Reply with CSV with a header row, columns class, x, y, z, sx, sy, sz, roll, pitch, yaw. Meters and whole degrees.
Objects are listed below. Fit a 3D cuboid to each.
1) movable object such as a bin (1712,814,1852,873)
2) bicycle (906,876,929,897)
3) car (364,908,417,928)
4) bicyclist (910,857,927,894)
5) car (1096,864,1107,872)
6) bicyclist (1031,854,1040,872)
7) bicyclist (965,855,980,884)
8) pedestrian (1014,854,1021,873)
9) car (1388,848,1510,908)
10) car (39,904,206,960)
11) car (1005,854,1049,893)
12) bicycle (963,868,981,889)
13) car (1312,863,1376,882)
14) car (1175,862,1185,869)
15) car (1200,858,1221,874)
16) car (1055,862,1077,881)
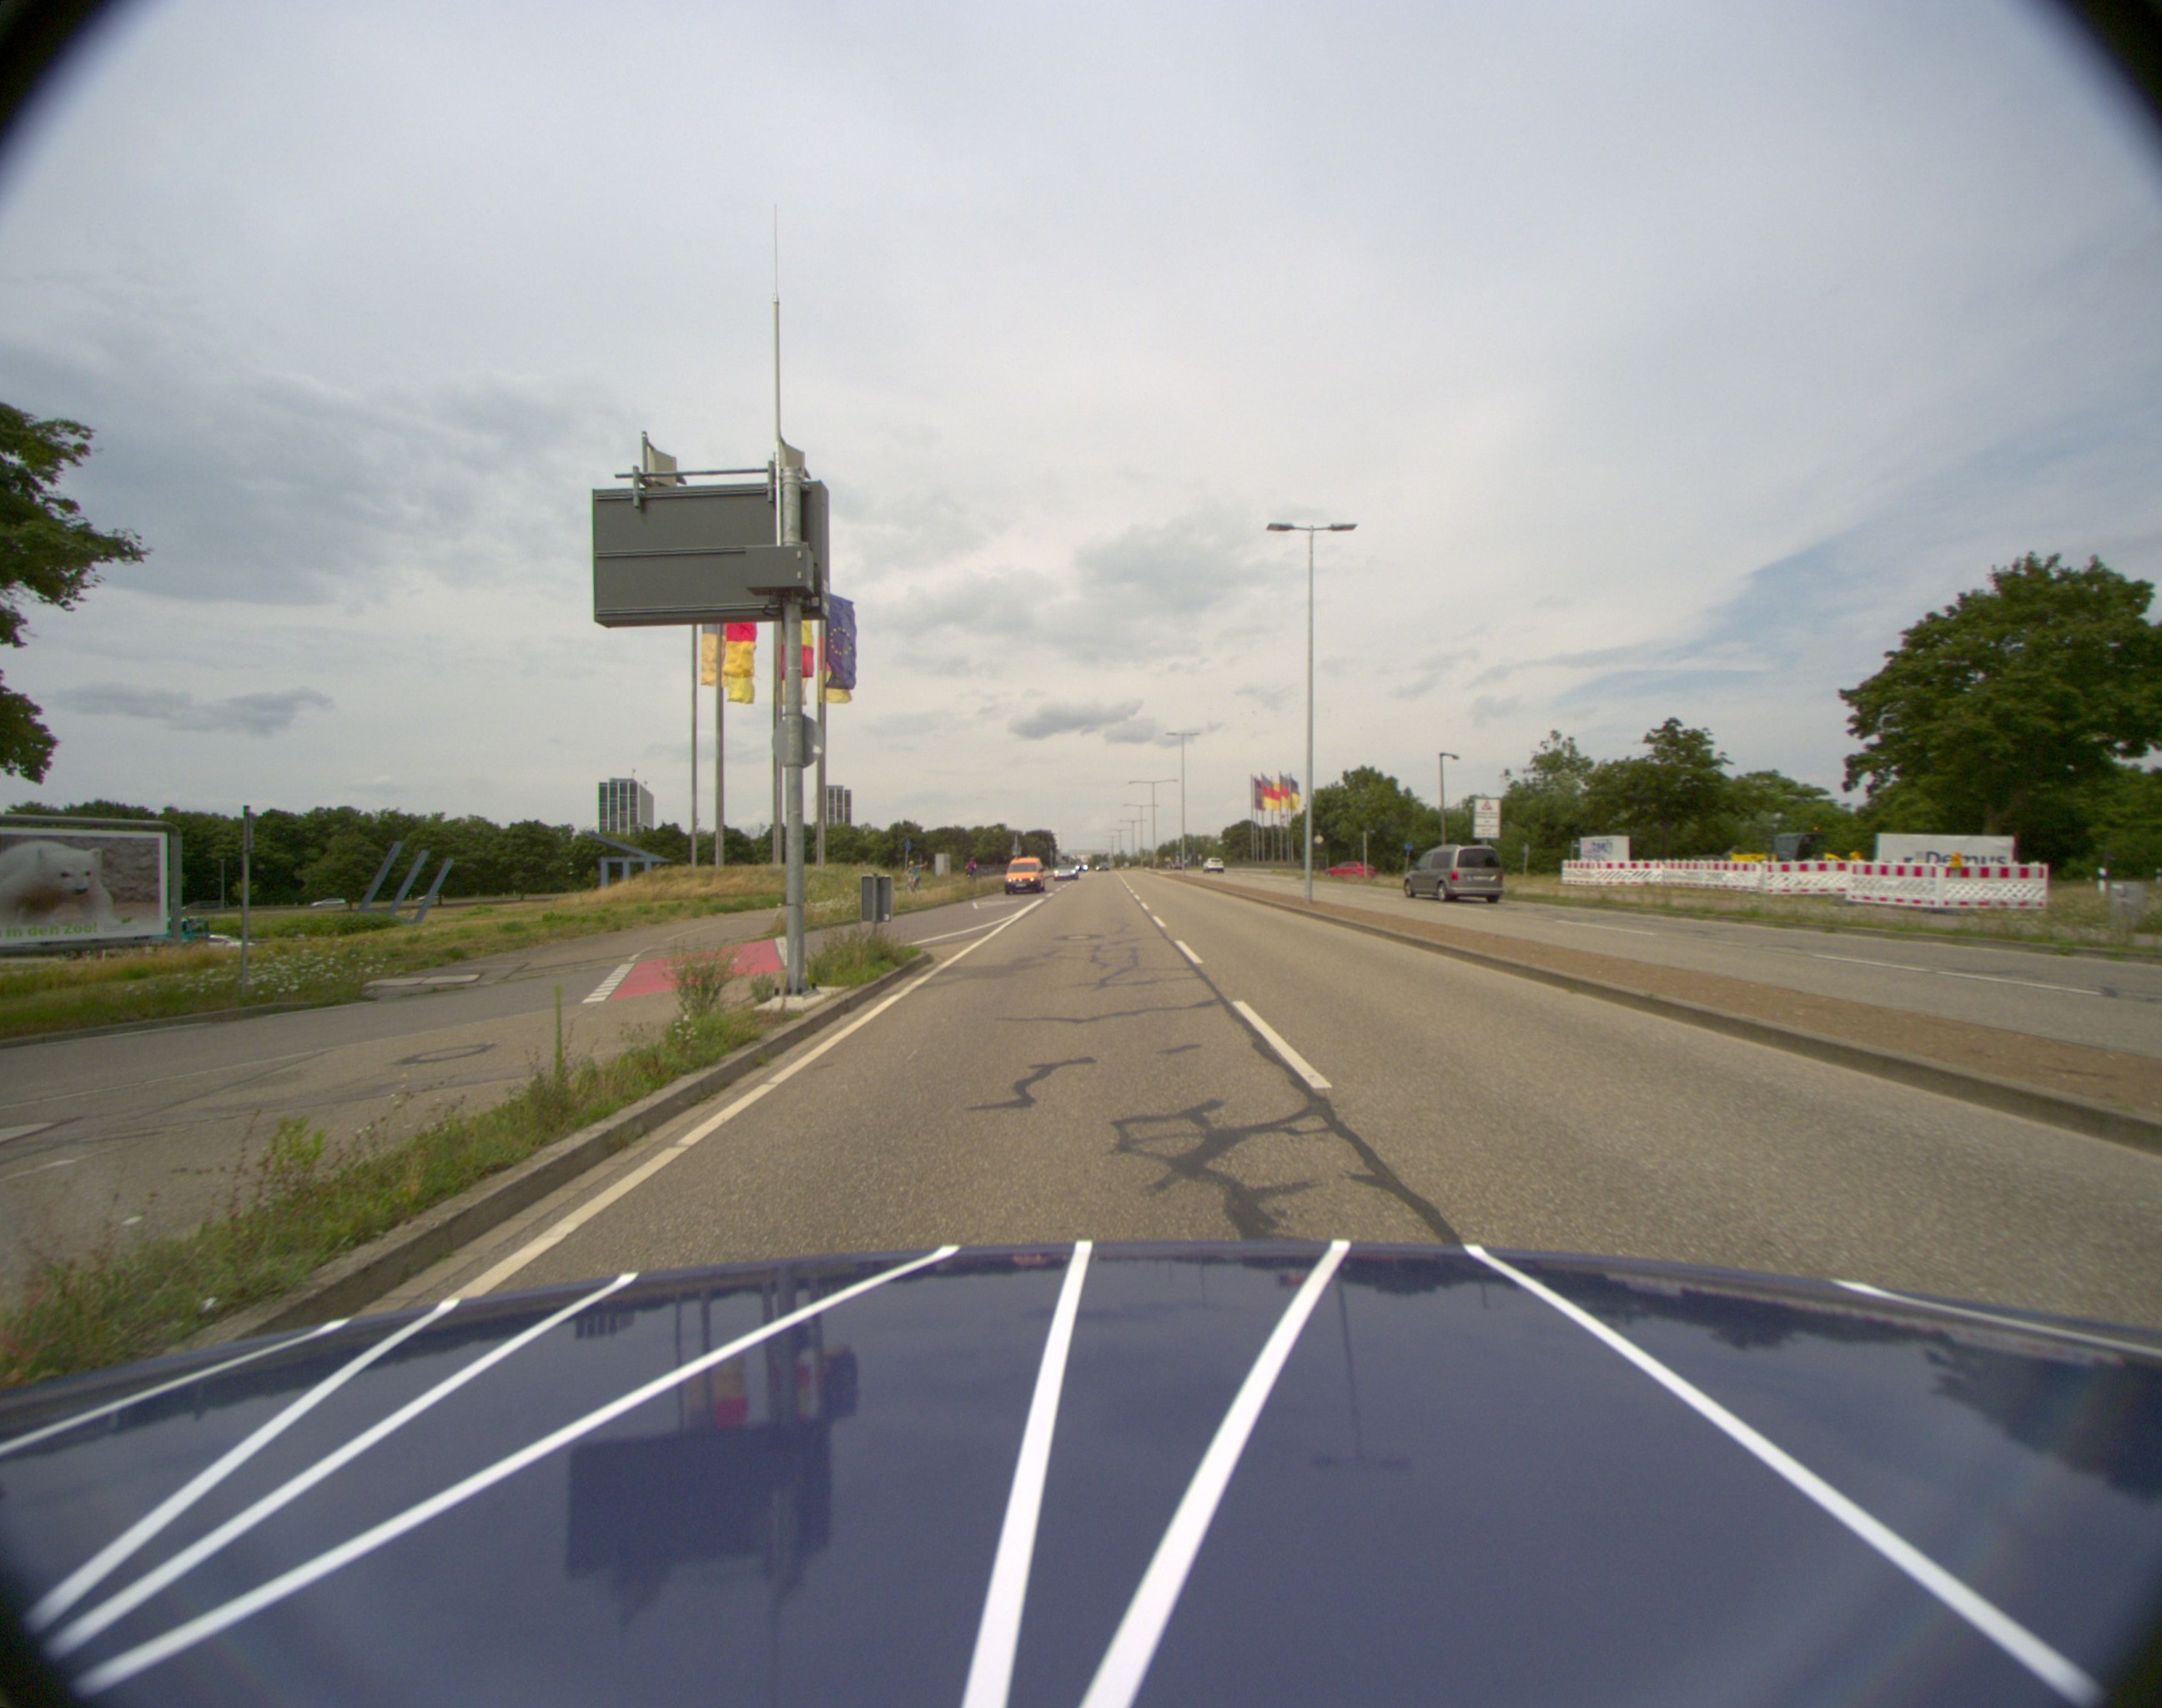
class,x,y,z,sx,sy,sz,roll,pitch,yaw
movable object such as a bin,30.256,-0.440,32.863,4.593,2.382,1.999,-1,-1,-9
bicycle,-7.595,1.482,35.416,0.625,0.883,2.154,-1,0,-1
car,-76.973,7.077,84.742,4.000,2.001,1.877,-1,-1,-10
bicyclist,-7.569,1.001,35.431,0.623,1.656,0.669,2,-1,-1
car,3.389,2.332,125.891,1.558,1.229,3.470,-2,-1,0
bicyclist,-4.675,0.939,77.894,0.873,1.791,0.956,-1,2,-5
bicyclist,-6.512,0.942,45.664,0.705,1.745,0.991,-1,0,0
pedestrian,-6.825,0.989,81.423,0.628,2.001,0.668,1,-1,2
car,12.280,0.784,25.722,1.907,1.798,4.540,-1,-1,0
car,-75.307,6.028,59.941,7.518,3.873,3.340,-1,-1,-20
car,-2.727,1.001,39.115,1.892,1.824,4.431,-2,-1,0
bicycle,-6.522,1.452,45.484,0.695,1.185,2.461,0,-1,0
car,19.998,1.442,57.871,1.785,1.365,4.286,0,-2,-38
car,20.442,2.387,156.960,1.998,1.365,4.579,0,0,5
car,14.070,1.354,82.731,1.698,1.619,4.385,-1,-1,2
car,-1.220,1.436,61.121,1.695,1.403,3.684,-2,-1,-2
